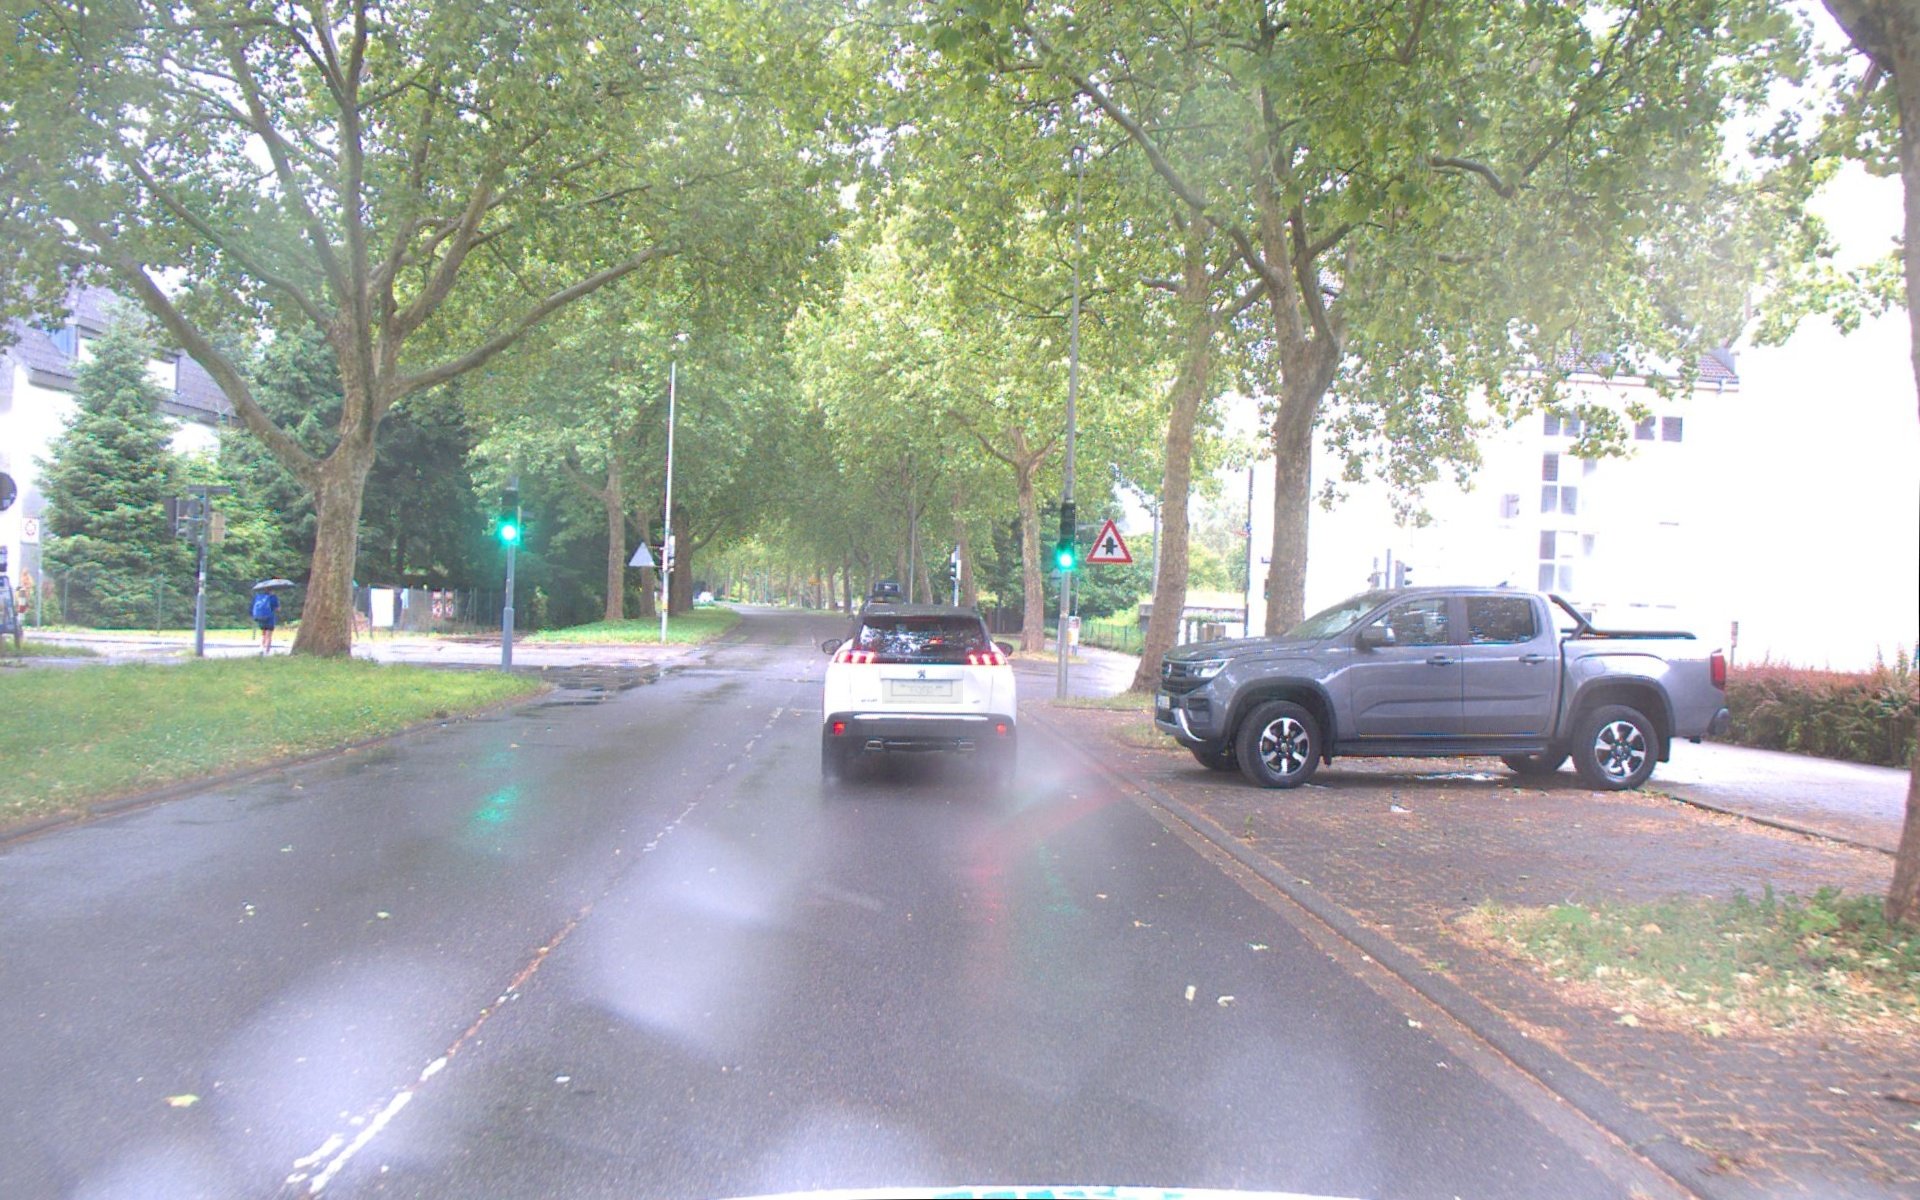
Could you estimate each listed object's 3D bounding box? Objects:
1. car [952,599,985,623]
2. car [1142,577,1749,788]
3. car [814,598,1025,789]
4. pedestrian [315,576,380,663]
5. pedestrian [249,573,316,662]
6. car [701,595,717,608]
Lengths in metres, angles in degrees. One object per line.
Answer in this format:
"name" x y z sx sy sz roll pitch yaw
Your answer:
"car" 0.555 0.729 111.497 1.868 1.536 3.927 2 0 -5
"car" 4.508 0.754 15.682 5.238 1.838 1.842 1 0 -8
"car" -0.381 0.809 15.903 1.744 1.563 4.056 1 -1 -1
"pedestrian" -12.945 0.398 34.983 1.012 1.796 0.838 1 0 -1
"pedestrian" -14.143 0.360 34.552 1.012 1.796 0.879 1 0 -1
"car" -33.934 0.239 223.272 1.837 1.706 3.704 2 0 -5
